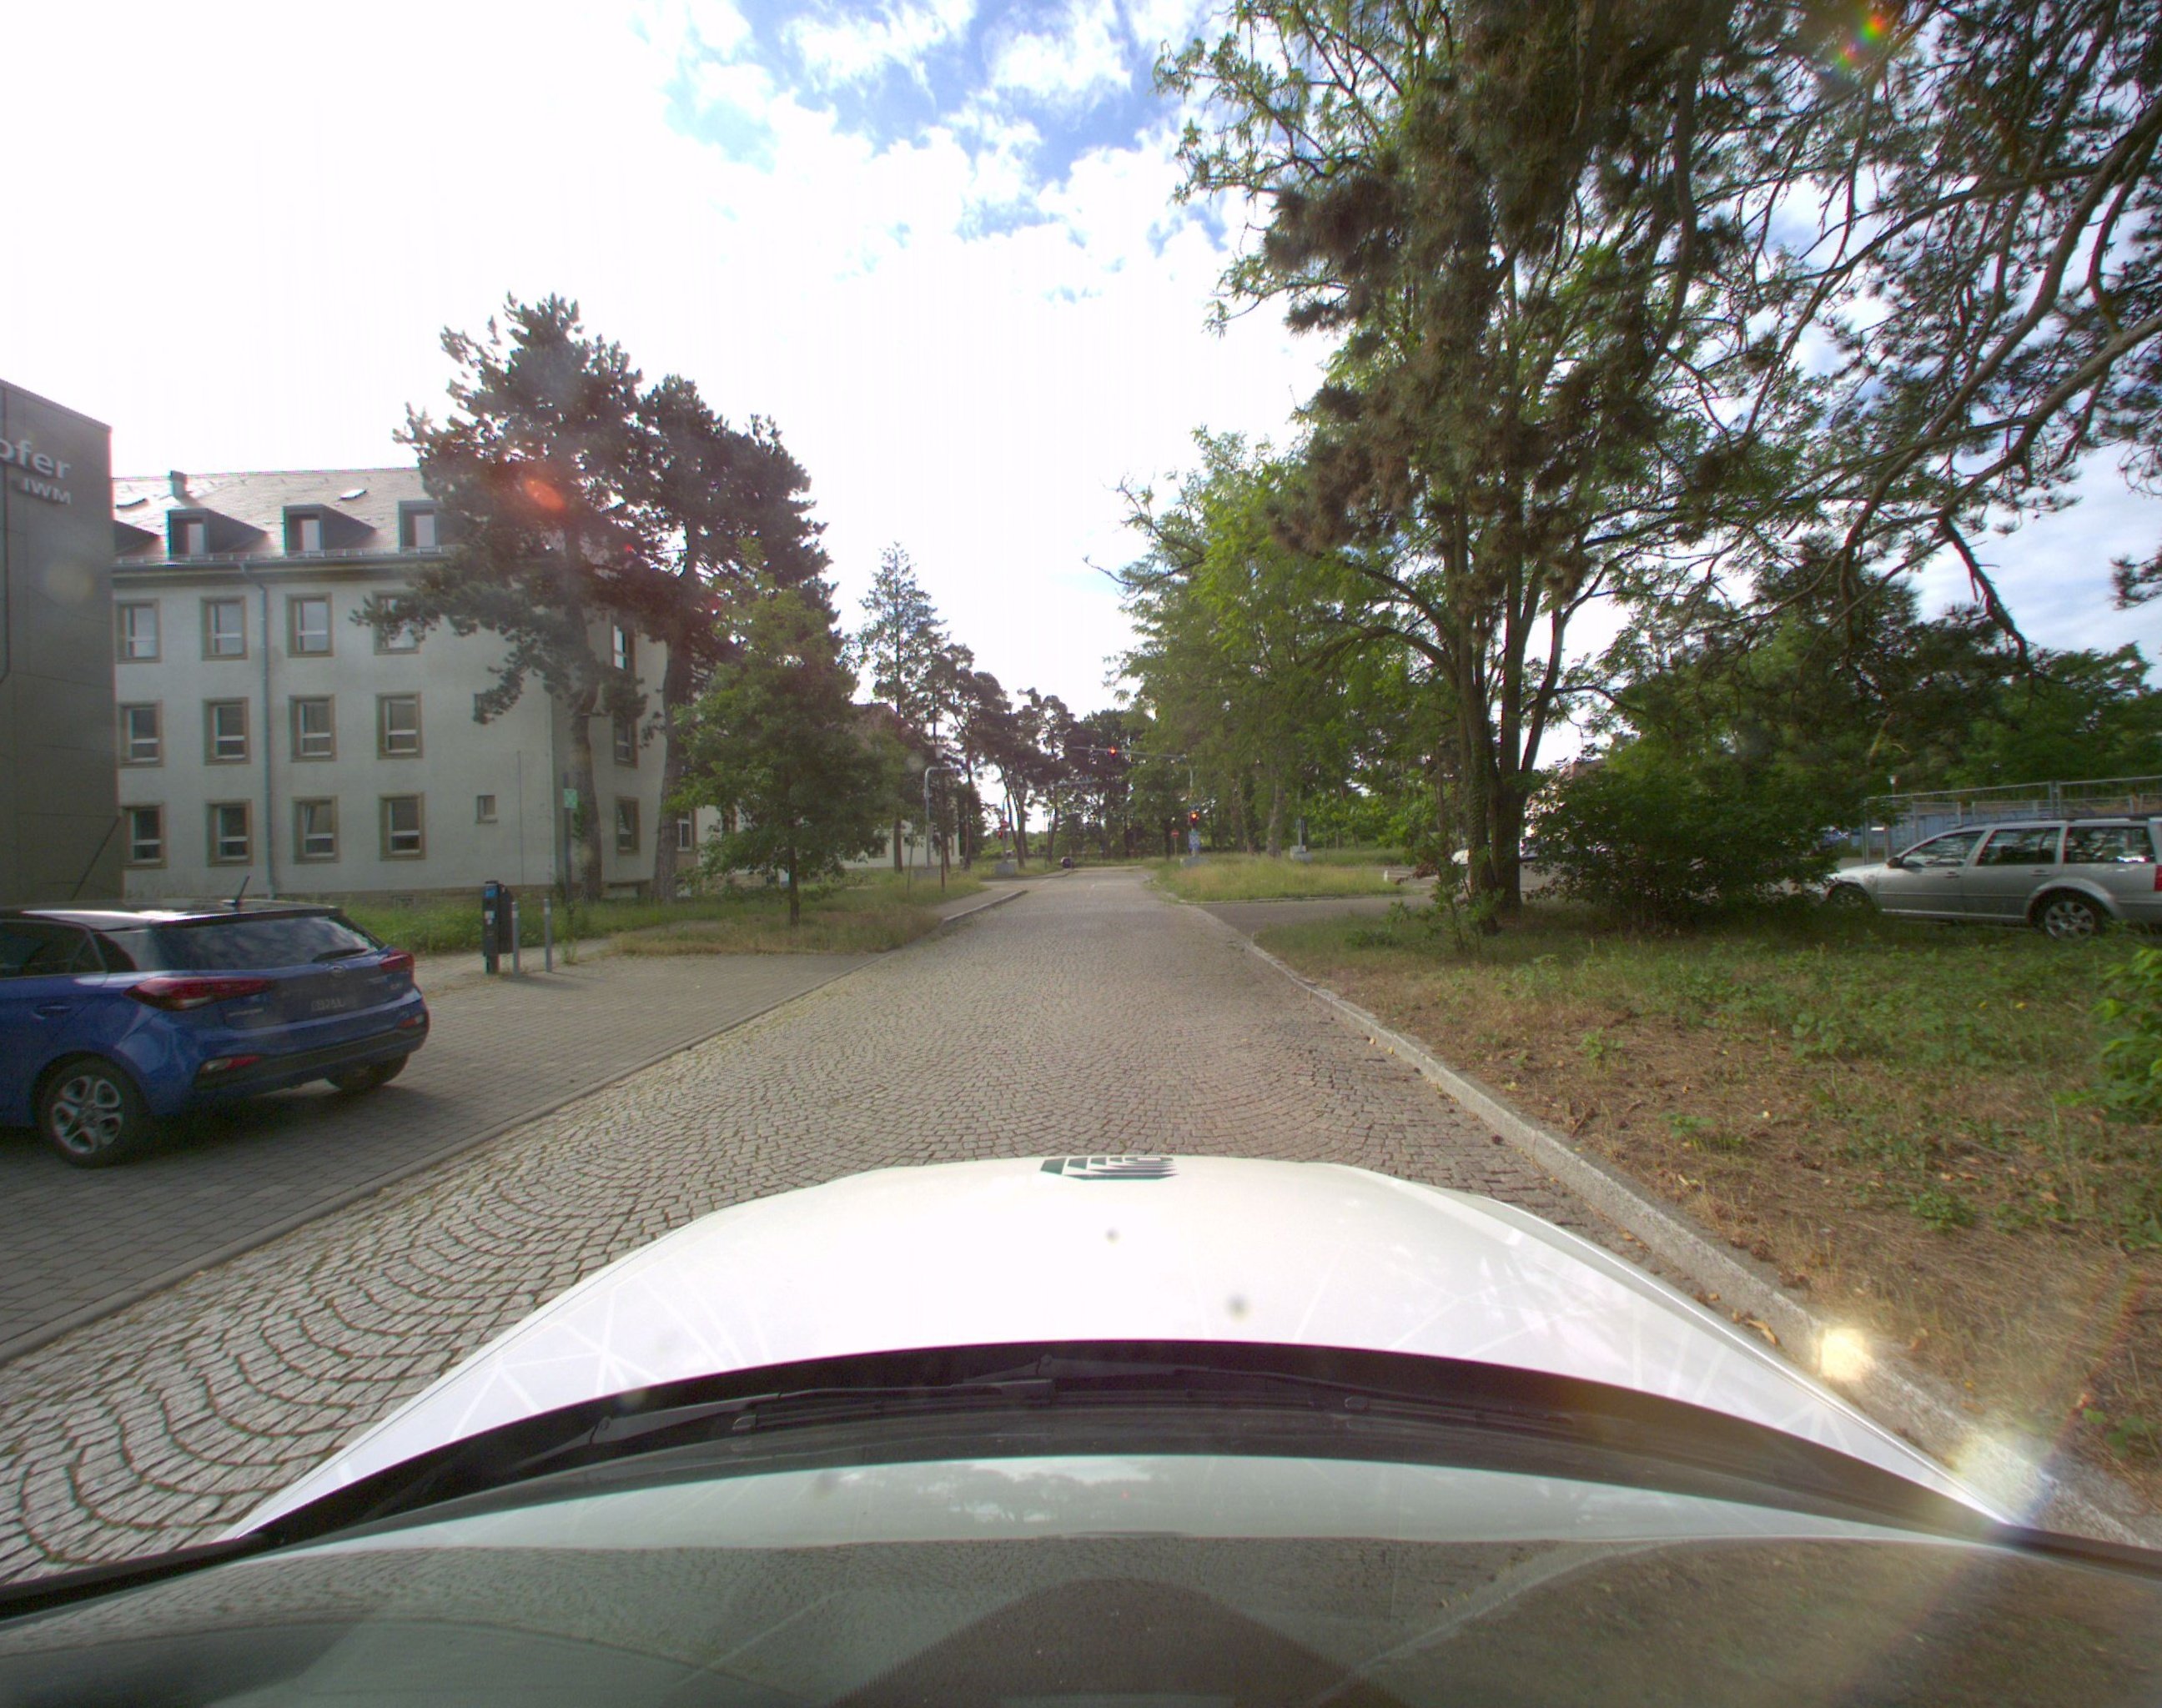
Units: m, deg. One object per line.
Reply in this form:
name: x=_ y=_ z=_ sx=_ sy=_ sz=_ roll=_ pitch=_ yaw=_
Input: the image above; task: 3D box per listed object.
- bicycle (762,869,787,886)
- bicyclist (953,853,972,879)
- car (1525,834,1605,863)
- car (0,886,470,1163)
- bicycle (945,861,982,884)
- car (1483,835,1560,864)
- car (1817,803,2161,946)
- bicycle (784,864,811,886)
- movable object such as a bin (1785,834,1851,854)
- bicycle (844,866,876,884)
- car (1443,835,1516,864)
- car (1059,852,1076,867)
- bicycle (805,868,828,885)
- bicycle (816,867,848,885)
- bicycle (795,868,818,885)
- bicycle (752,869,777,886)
bicycle: x=-20.939 y=1.585 z=55.725 sx=0.733 sy=1.076 sz=2.274 roll=-2 pitch=0 yaw=2
bicyclist: x=-7.820 y=0.805 z=53.834 sx=0.926 sy=1.697 sz=0.947 roll=-2 pitch=-1 yaw=-32
car: x=28.265 y=-0.258 z=47.740 sx=1.988 sy=1.481 sz=4.422 roll=-2 pitch=-2 yaw=-2
car: x=-6.778 y=1.017 z=5.631 sx=3.748 sy=1.478 sz=1.854 roll=-1 pitch=0 yaw=4
bicycle: x=-7.795 y=1.204 z=53.842 sx=2.193 sy=1.387 sz=0.929 roll=-2 pitch=0 yaw=-32
car: x=25.596 y=-0.231 z=47.509 sx=1.988 sy=1.481 sz=4.422 roll=-2 pitch=-2 yaw=-2
car: x=11.606 y=0.214 z=9.926 sx=1.640 sy=1.427 sz=4.073 roll=1 pitch=0 yaw=1
bicycle: x=-19.487 y=1.430 z=56.076 sx=0.733 sy=1.385 sz=2.713 roll=-2 pitch=0 yaw=2
movable object such as a bin: x=31.474 y=-0.419 z=34.827 sx=1.179 sy=0.825 sz=1.957 roll=-2 pitch=0 yaw=6
bicycle: x=-14.788 y=1.404 z=54.477 sx=1.848 sy=1.076 sz=0.832 roll=-2 pitch=0 yaw=3
car: x=23.081 y=-0.203 z=47.388 sx=1.988 sy=1.481 sz=4.422 roll=-2 pitch=-2 yaw=-2
car: x=-1.798 y=0.727 z=111.547 sx=2.048 sy=1.846 sz=4.001 roll=-2 pitch=0 yaw=1
bicycle: x=-18.110 y=1.523 z=55.768 sx=0.733 sy=1.076 sz=2.274 roll=-2 pitch=0 yaw=2
bicycle: x=-16.671 y=1.460 z=54.482 sx=1.848 sy=1.076 sz=0.739 roll=-2 pitch=0 yaw=3
bicycle: x=-18.753 y=1.551 z=55.702 sx=0.733 sy=1.076 sz=2.274 roll=-2 pitch=0 yaw=2
bicycle: x=-21.667 y=1.608 z=55.814 sx=0.733 sy=1.076 sz=2.274 roll=-2 pitch=0 yaw=2
